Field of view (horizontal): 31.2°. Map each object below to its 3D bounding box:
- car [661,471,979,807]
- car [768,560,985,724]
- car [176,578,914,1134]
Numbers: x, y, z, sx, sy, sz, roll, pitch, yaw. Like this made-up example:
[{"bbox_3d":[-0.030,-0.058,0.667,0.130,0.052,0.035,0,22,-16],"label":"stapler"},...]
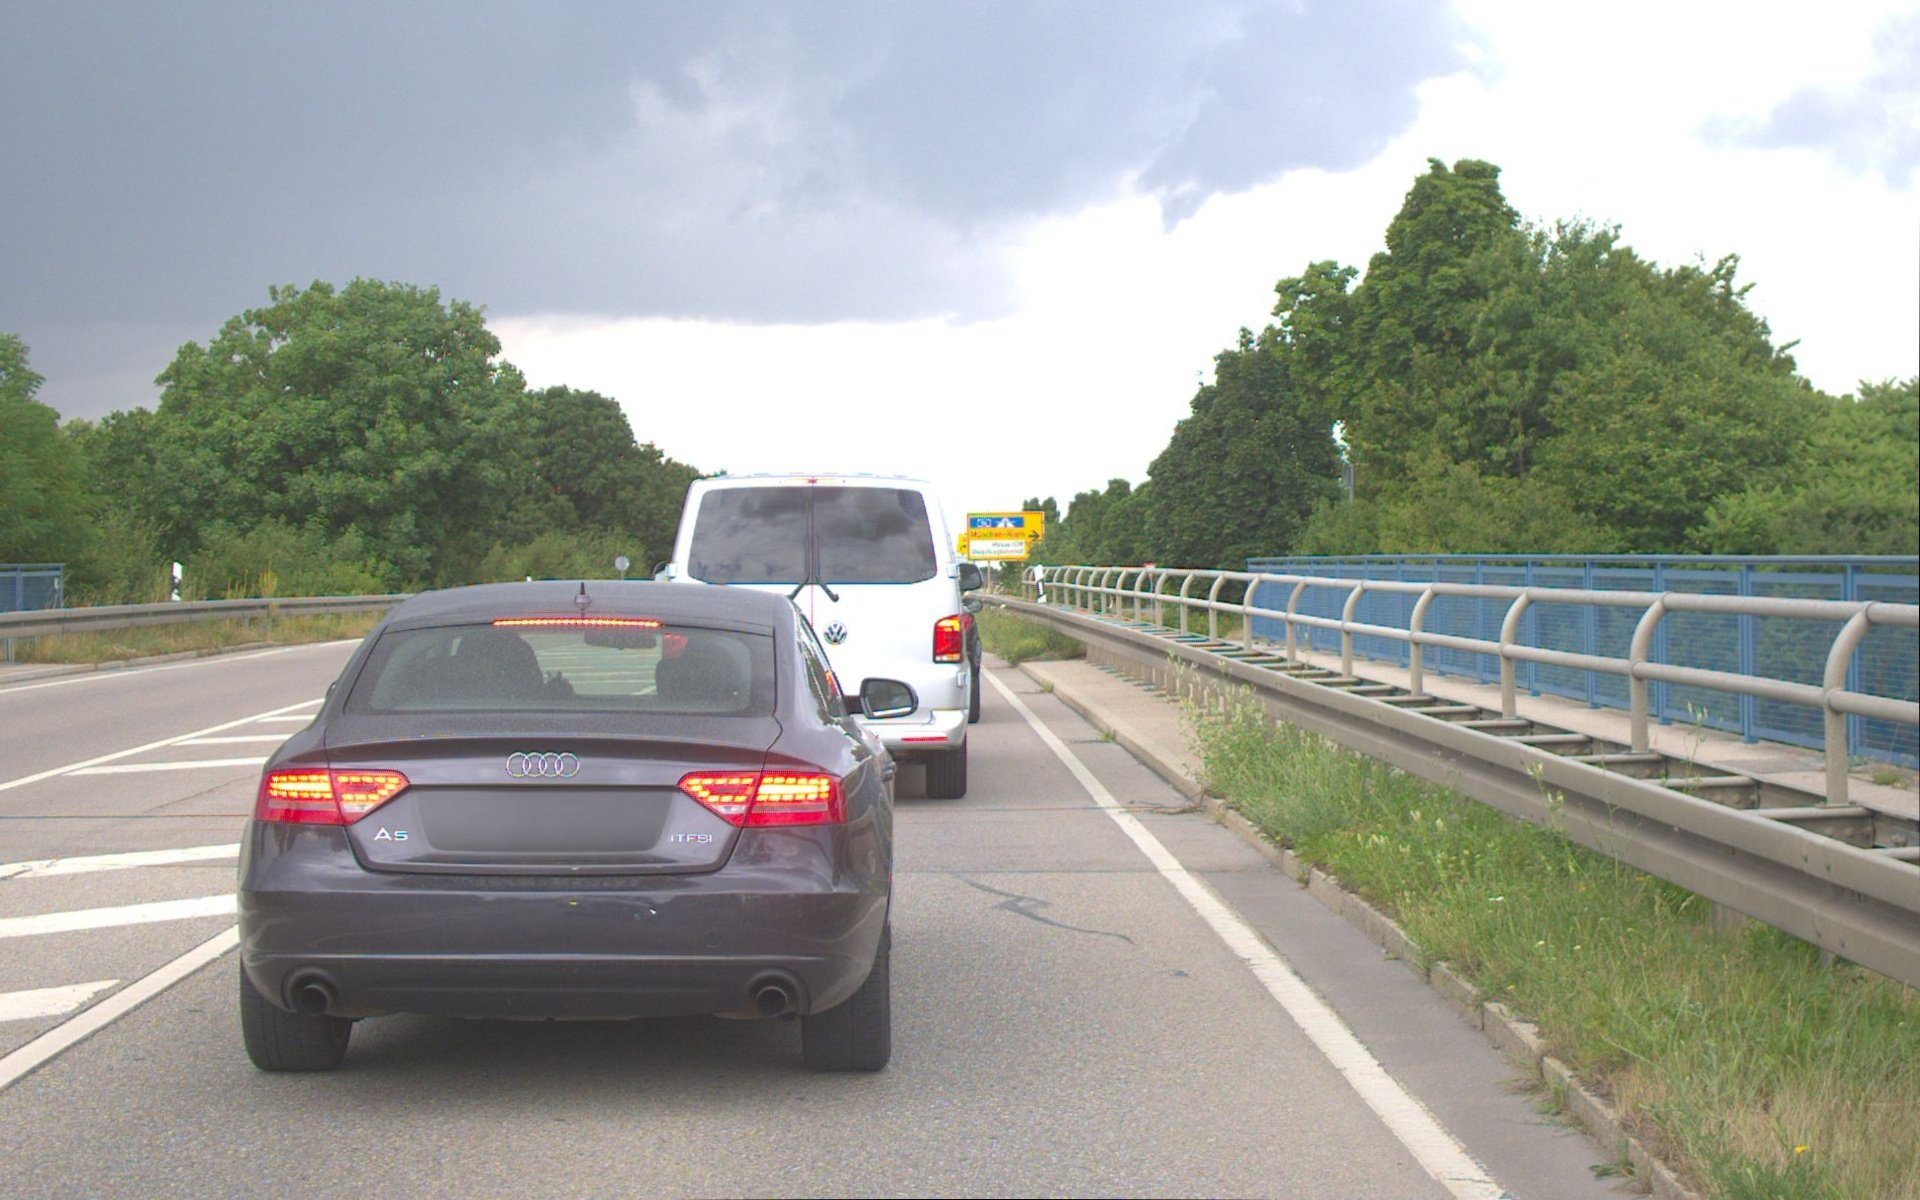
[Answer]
[{"bbox_3d":[-0.856,0.204,21.866,1.828,1.929,4.000,0,1,-1],"label":"car"},{"bbox_3d":[-0.710,0.332,30.967,1.821,1.376,4.072,0,1,0],"label":"car"},{"bbox_3d":[-1.084,0.639,10.786,1.821,1.376,4.072,1,1,0],"label":"car"}]
